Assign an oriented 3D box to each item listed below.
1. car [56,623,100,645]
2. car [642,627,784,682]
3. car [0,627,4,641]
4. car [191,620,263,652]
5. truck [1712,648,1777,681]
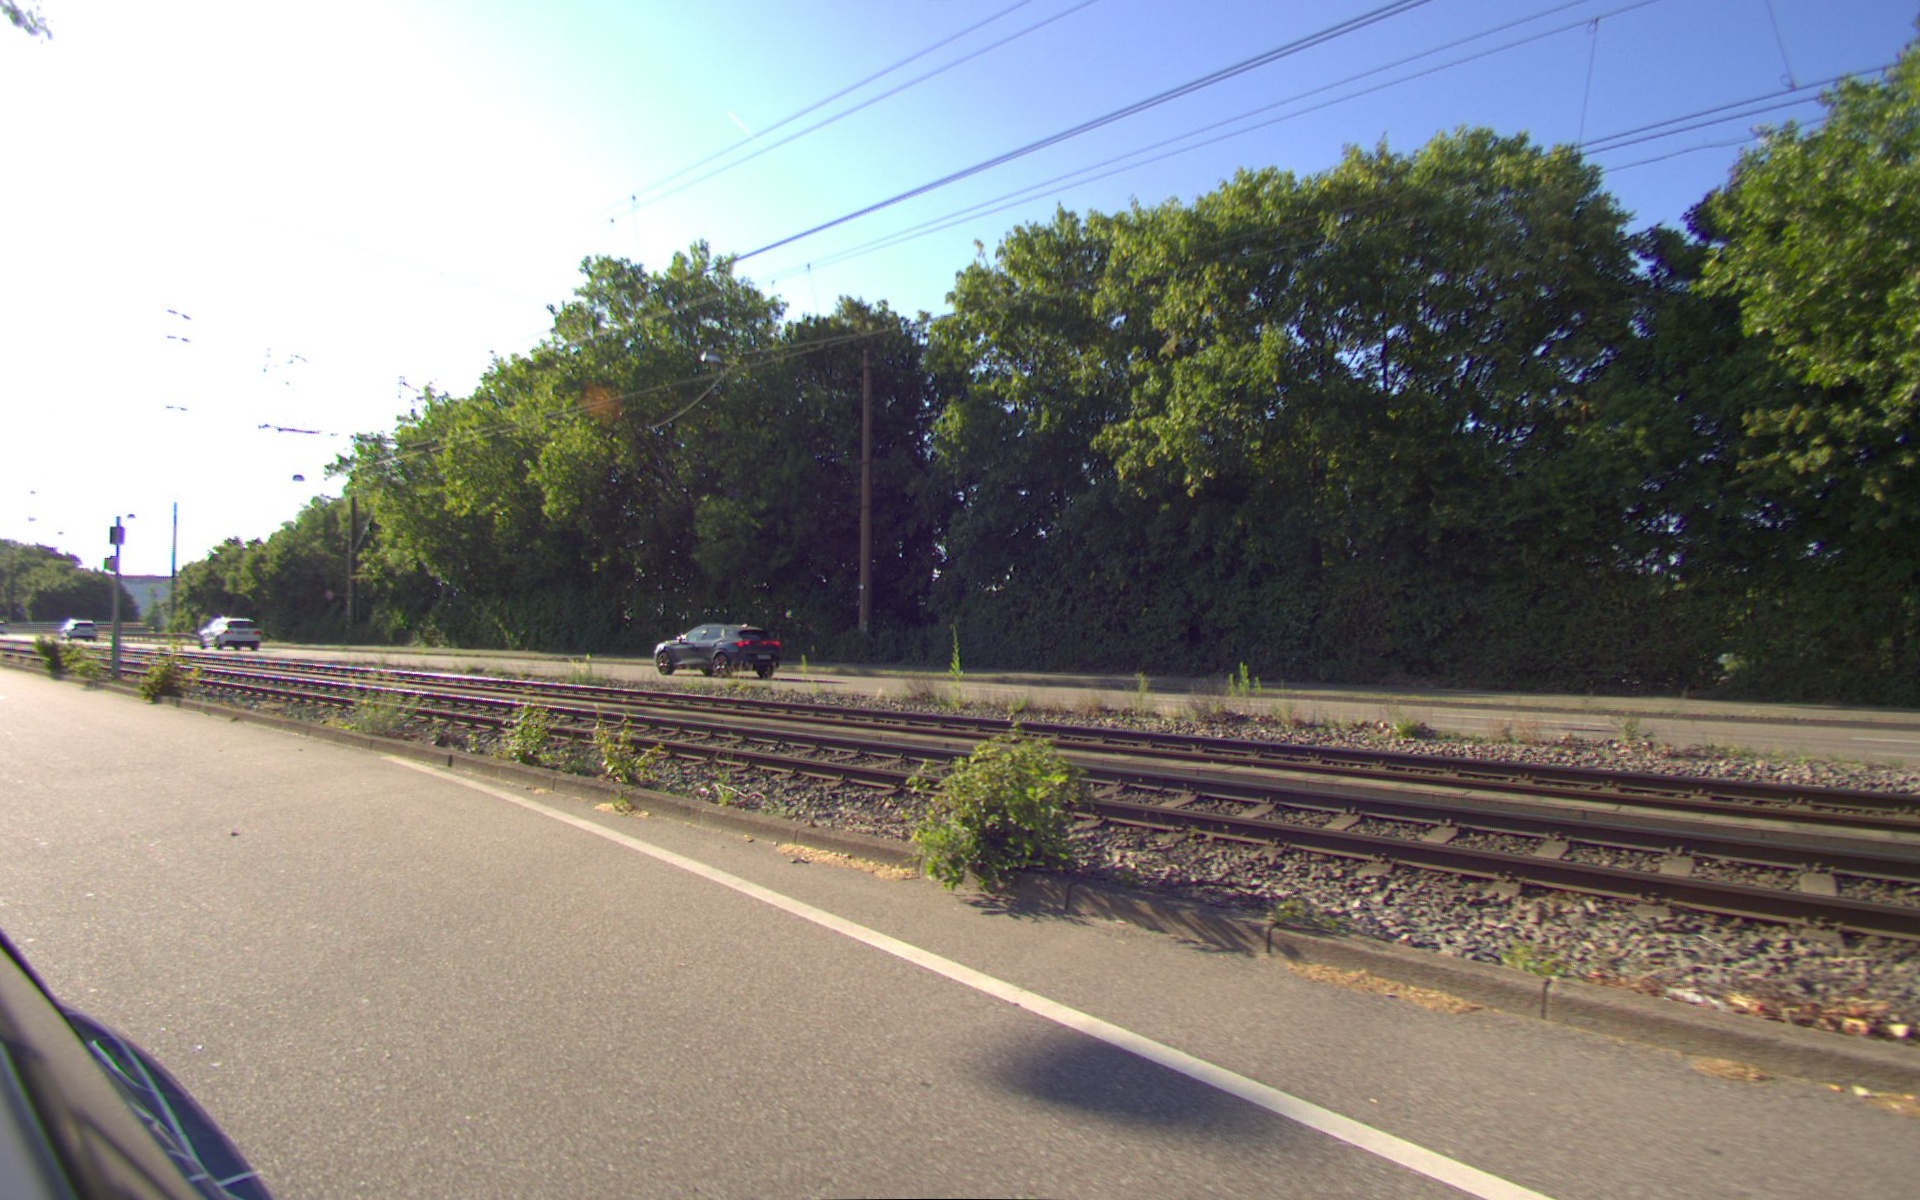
[{"bbox_3d":[-73.597,2.836,84.421,4.925,1.747,1.828,-1,-4,38],"label":"car"},{"bbox_3d":[-7.229,1.561,29.433,4.342,1.479,1.694,-1,-4,39],"label":"car"},{"bbox_3d":[-108.264,3.781,112.941,4.187,1.568,1.674,-1,-4,40],"label":"car"},{"bbox_3d":[-41.255,2.016,56.914,4.937,1.720,1.944,-1,-4,38],"label":"car"},{"bbox_3d":[66.502,5.433,85.780,4.944,2.540,2.072,0,-1,-21],"label":"truck"}]
